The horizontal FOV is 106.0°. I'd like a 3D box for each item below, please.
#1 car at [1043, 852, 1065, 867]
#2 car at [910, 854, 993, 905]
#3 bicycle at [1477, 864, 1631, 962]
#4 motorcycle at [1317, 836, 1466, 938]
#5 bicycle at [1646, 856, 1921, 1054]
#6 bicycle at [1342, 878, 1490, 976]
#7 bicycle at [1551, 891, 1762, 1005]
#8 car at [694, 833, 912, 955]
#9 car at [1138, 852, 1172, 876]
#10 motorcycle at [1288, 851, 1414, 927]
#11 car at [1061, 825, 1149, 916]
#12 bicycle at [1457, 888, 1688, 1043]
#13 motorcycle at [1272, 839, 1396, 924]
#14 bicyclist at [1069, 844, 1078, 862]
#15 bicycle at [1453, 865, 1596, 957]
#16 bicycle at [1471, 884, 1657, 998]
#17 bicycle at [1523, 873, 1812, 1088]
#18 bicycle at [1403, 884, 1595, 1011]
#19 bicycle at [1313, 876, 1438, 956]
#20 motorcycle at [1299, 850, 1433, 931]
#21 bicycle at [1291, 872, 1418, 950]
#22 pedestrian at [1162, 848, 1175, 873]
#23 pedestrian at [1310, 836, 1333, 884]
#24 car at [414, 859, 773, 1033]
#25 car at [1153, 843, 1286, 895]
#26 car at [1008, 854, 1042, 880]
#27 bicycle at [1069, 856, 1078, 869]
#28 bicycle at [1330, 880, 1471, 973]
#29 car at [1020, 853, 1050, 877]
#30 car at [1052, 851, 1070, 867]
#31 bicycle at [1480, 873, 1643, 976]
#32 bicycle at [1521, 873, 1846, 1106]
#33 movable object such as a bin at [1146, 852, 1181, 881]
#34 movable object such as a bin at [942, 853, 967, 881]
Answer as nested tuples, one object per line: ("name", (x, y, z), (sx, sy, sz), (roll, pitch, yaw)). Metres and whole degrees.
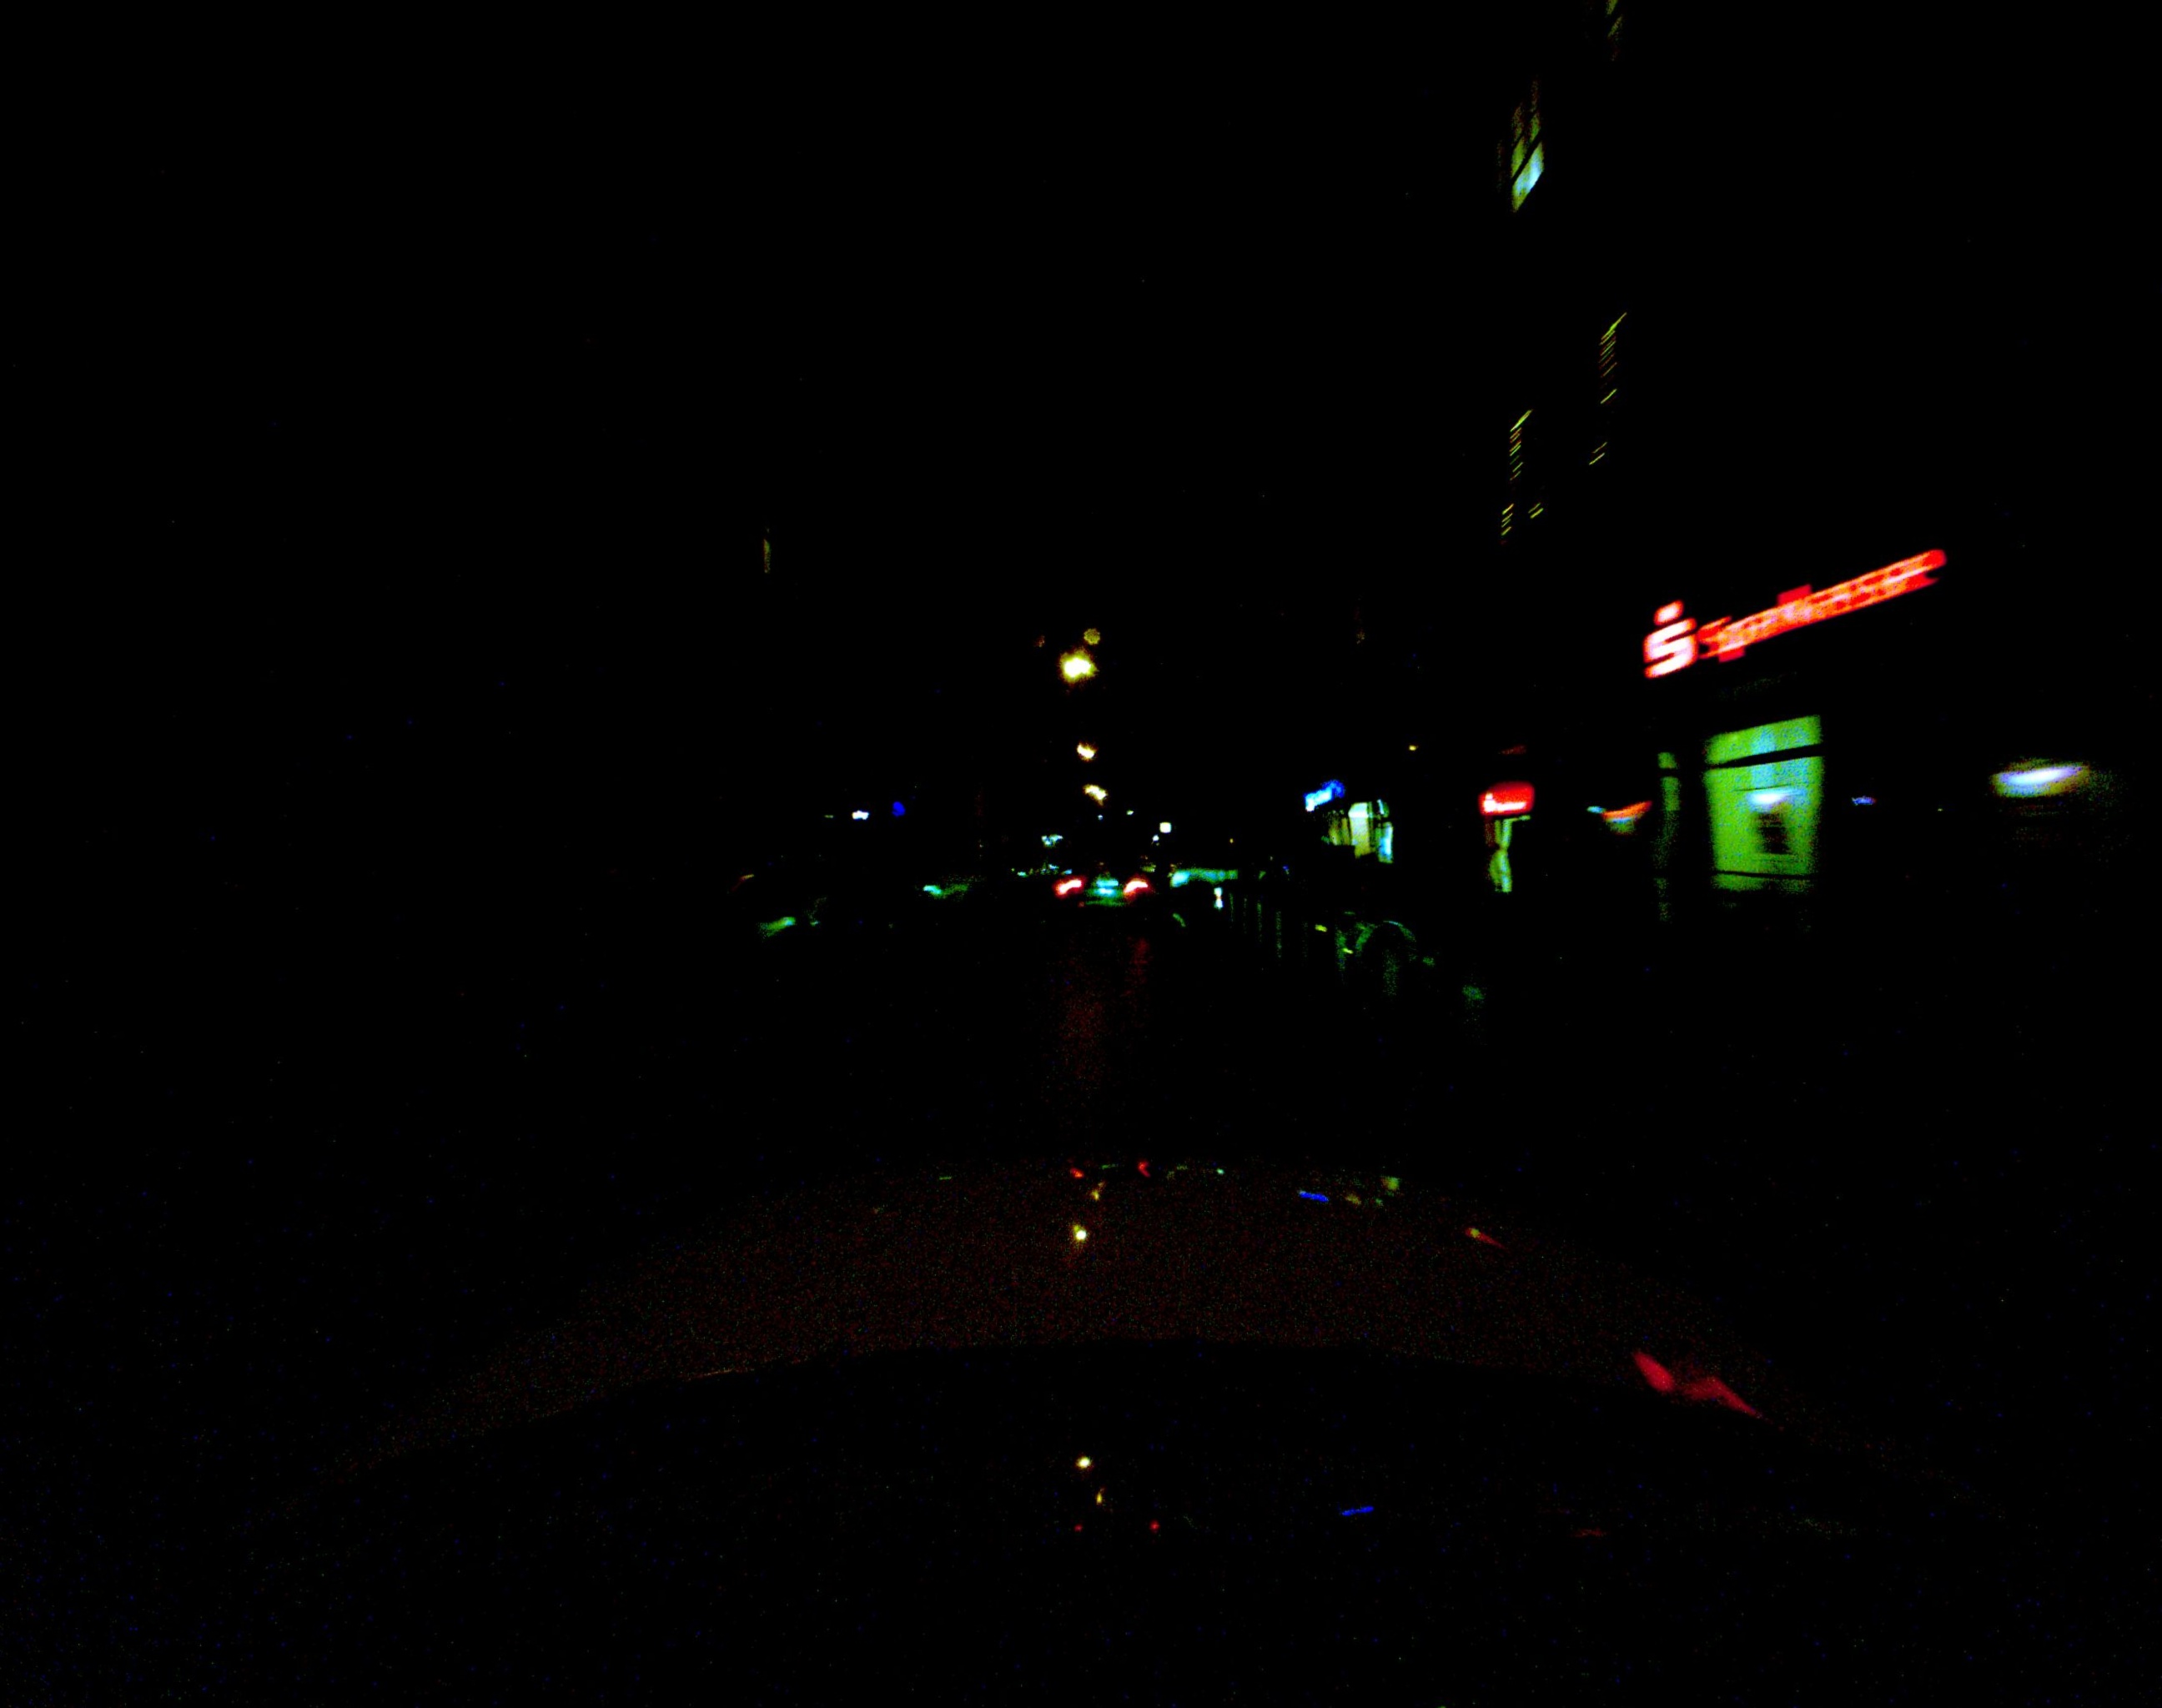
("car", (-2.698, 0.530, 82.563), (1.825, 1.486, 4.596), (-1, 0, 2))
("car", (-4.257, 0.792, 27.484), (1.760, 1.483, 4.775), (2, 0, 3))
("bicycle", (5.508, 0.676, 9.505), (1.525, 0.952, 0.366), (-6, -1, -4))
("motorcycle", (5.386, 0.559, 14.231), (2.165, 1.547, 0.867), (-5, -1, 1))
("bicycle", (5.019, 0.704, 5.853), (1.524, 1.202, 0.366), (-7, -1, 0))
("bicycle", (3.959, 0.853, 9.659), (1.525, 0.952, 0.366), (-7, -1, -3))
("bicycle", (5.167, 0.842, 7.353), (1.521, 0.833, 0.326), (-7, -1, 5))
("car", (-4.756, 0.595, 14.937), (1.988, 1.829, 5.210), (-1, 0, 2))
("car", (4.769, 0.620, 52.958), (1.986, 1.464, 4.418), (-1, 0, 2))
("motorcycle", (5.434, 0.690, 16.499), (2.165, 1.318, 0.867), (-5, -1, 1))
("car", (0.643, 0.359, 20.951), (1.988, 2.049, 4.697), (-1, 0, 2))
("bicycle", (3.909, 0.877, 6.526), (1.524, 1.023, 0.366), (-7, -1, 0))
("motorcycle", (5.386, 0.569, 17.443), (2.280, 1.588, 0.867), (-5, -1, 1))
("bicyclist", (-0.700, -0.099, 75.192), (0.715, 1.556, 0.895), (-2, 0, 2))
("bicycle", (5.537, 0.703, 10.191), (1.525, 0.952, 0.366), (-7, -1, -3))
("bicycle", (4.870, 0.873, 8.260), (1.521, 0.952, 0.367), (-7, -1, 5))
("bicycle", (3.851, 0.811, 5.395), (1.524, 1.202, 0.366), (-7, -1, 0))
("bicycle", (3.985, 0.885, 7.831), (1.521, 1.023, 0.367), (-7, -1, 5))
("bicycle", (4.121, 0.871, 11.468), (1.519, 0.952, 0.367), (-7, -1, 9))
("motorcycle", (5.407, 0.680, 15.566), (2.165, 1.318, 0.867), (-5, -1, 1))
("bicycle", (4.019, 0.837, 12.036), (1.660, 0.952, 0.367), (-7, -1, 9))
("pedestrian", (6.551, 0.468, 61.041), (0.858, 1.788, 1.084), (-3, 1, 5))
("pedestrian", (9.267, 0.234, 31.393), (0.699, 1.788, 0.625), (-3, 1, 5))
("car", (-4.955, 0.811, 8.948), (1.563, 1.460, 3.722), (-1, 0, 2))
("car", (5.018, 0.534, 29.941), (4.496, 1.530, 1.781), (-4, 0, 1))
("car", (-3.398, 0.779, 50.114), (1.665, 1.491, 3.723), (0, 0, 2))
("bicycle", (-0.699, 0.777, 75.190), (0.724, 1.072, 2.349), (-2, 0, 2))
("bicycle", (3.955, 0.887, 10.104), (1.525, 0.952, 0.366), (-7, -1, -3))
("car", (-3.197, 0.733, 57.441), (1.768, 1.572, 4.136), (-1, 0, 2))
("car", (-2.282, 0.556, 93.546), (1.825, 1.717, 4.596), (-1, 0, 2))
("bicycle", (5.340, 0.772, 9.070), (1.525, 0.952, 0.366), (-7, -1, -3))
("bicycle", (3.612, 0.803, 4.949), (1.522, 1.202, 0.367), (-7, -1, 4))
("movable object such as a bin", (4.314, 0.638, 42.450), (1.347, 1.429, 1.188), (-1, 0, -35))
("movable object such as a bin", (-6.791, 0.706, 43.783), (1.098, 1.454, 1.378), (-2, 0, 0))
